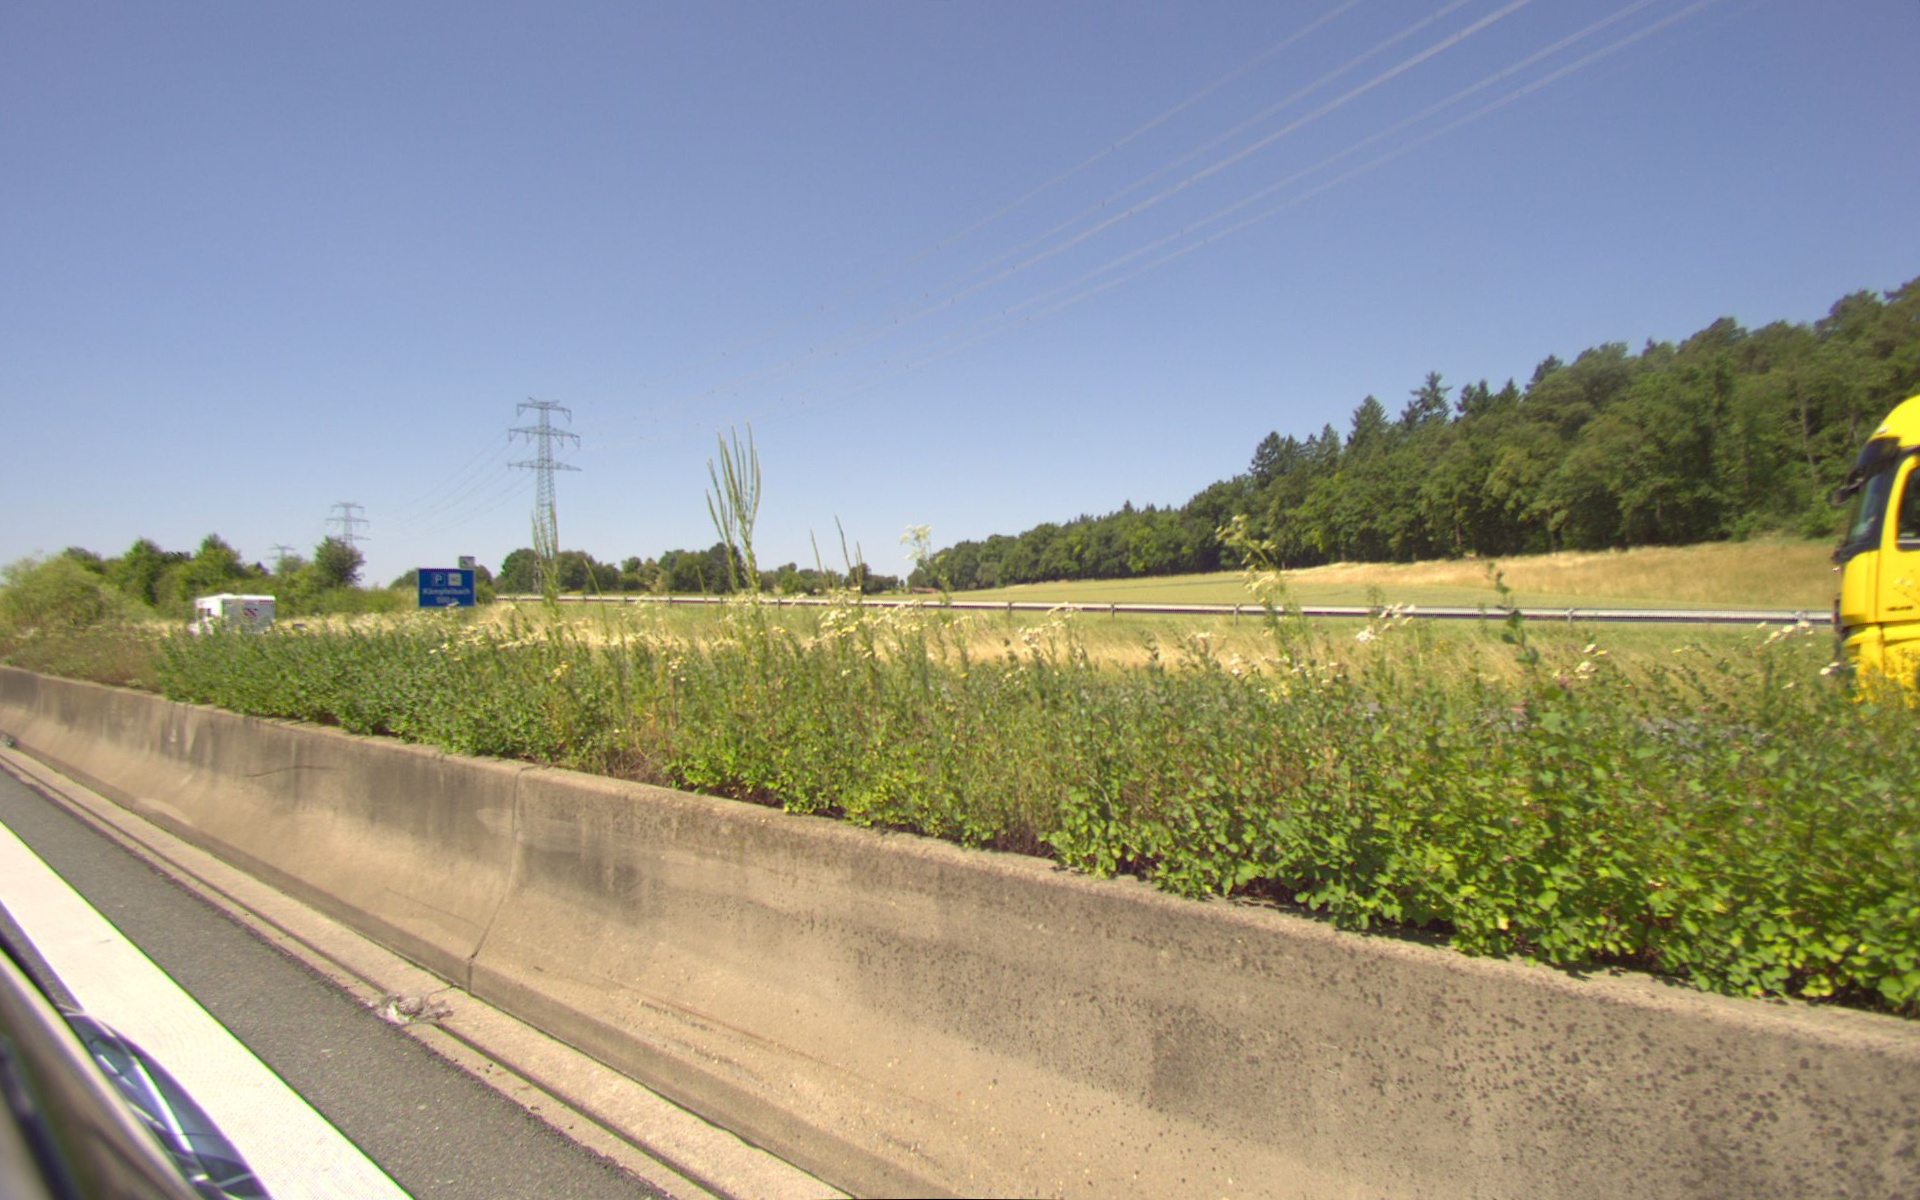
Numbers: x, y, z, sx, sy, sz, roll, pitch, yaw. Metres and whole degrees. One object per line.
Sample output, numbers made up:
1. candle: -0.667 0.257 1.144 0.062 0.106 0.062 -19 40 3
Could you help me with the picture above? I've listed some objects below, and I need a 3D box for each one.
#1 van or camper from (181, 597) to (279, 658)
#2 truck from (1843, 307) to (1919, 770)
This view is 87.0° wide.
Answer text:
1. van or camper: -37.320 1.299 51.640 7.063 2.859 2.526 0 1 41
2. truck: 12.168 -0.604 8.311 7.320 4.268 2.750 0 1 40
